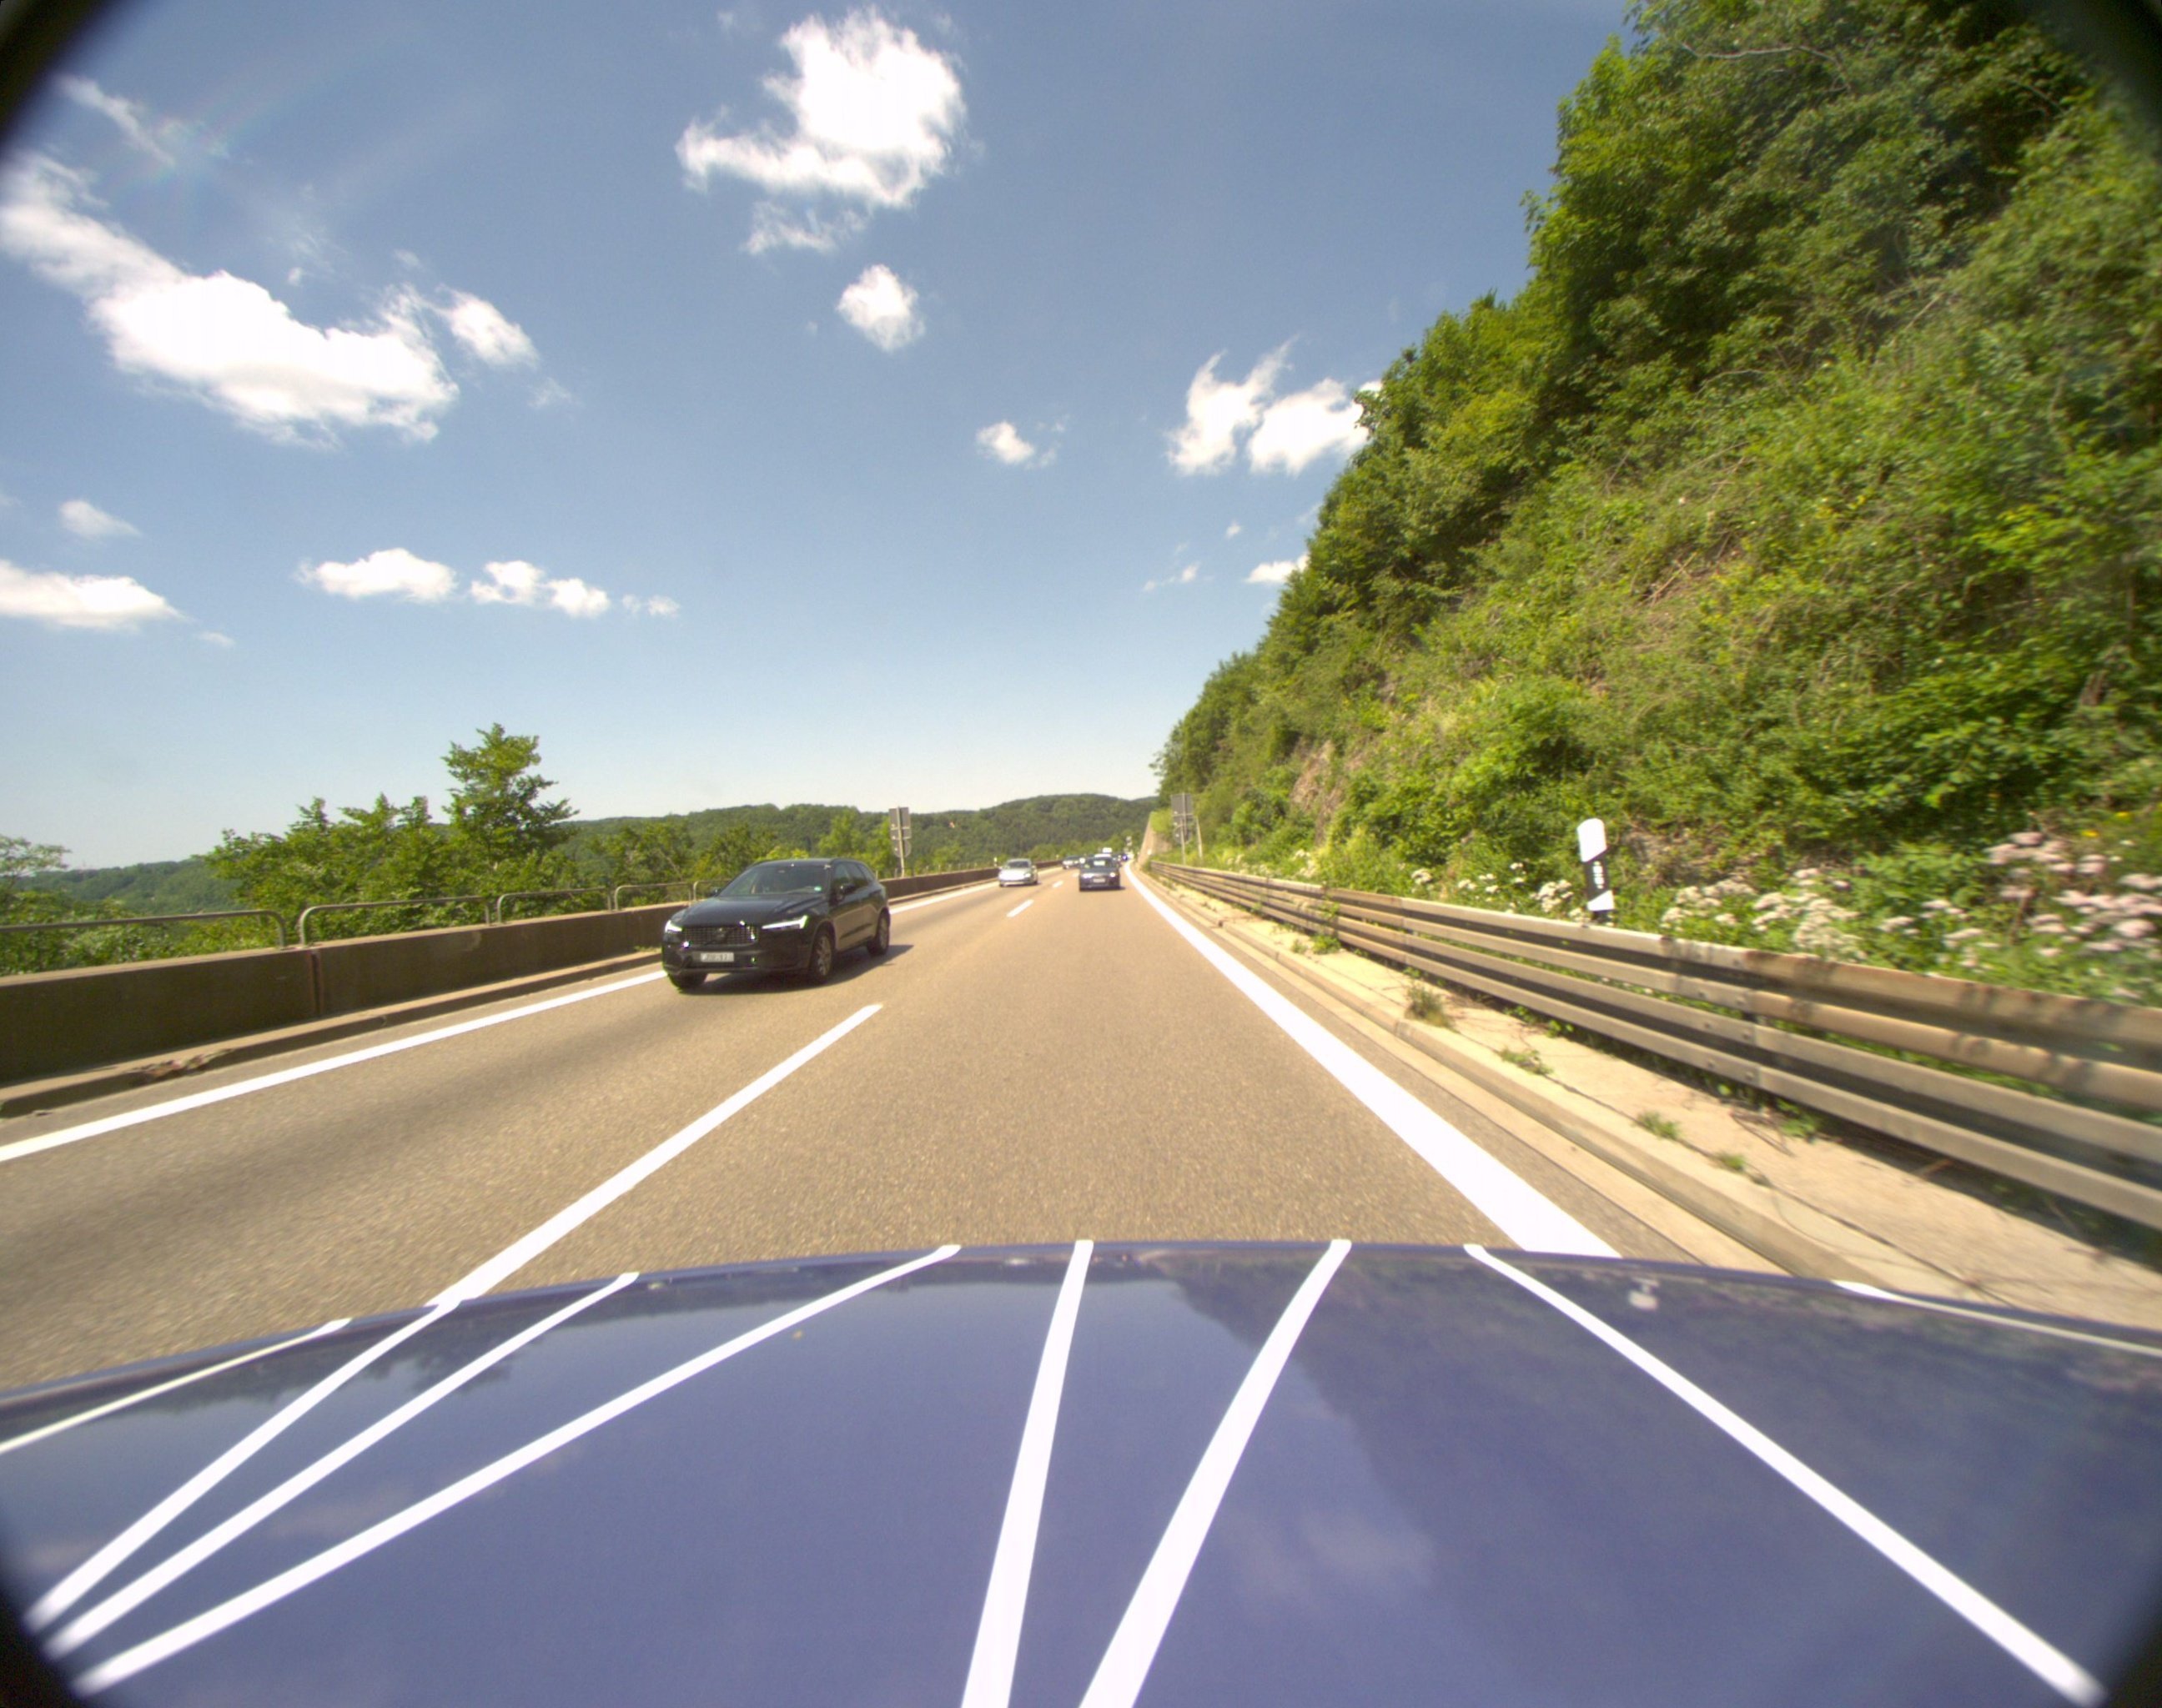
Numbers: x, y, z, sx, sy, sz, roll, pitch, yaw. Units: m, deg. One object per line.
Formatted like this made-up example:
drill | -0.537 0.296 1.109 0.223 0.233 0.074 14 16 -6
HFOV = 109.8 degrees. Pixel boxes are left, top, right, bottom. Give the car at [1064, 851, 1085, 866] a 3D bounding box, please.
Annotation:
car | -0.746 0.468 85.280 1.875 1.565 4.001 -2 0 6

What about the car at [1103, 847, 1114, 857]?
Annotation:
car | 6.206 -0.463 169.275 1.997 2.002 4.002 -2 0 8

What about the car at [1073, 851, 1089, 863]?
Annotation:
car | 0.048 0.375 104.333 1.775 1.565 4.001 -2 0 4

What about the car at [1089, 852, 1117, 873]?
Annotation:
car | 1.706 0.677 61.126 1.999 1.543 3.999 -2 0 -1

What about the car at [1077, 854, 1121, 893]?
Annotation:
car | 0.802 0.764 32.139 1.668 1.415 4.044 -2 1 3

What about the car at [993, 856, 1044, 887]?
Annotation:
car | -3.301 0.886 40.950 1.972 1.370 4.294 -4 1 5

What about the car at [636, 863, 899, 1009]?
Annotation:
car | -4.170 0.970 11.067 1.839 1.623 4.662 -2 0 0

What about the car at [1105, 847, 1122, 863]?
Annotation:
car | 4.187 0.066 98.733 1.998 2.002 4.000 -2 0 1

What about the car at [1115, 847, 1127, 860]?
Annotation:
car | 6.649 -0.112 126.683 1.998 2.002 4.000 -2 0 2

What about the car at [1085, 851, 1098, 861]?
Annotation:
car | 1.694 0.274 121.253 1.775 1.565 4.001 -2 0 4

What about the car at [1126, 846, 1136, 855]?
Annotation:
car | 11.704 -0.729 177.988 1.997 2.002 4.002 -2 0 8
